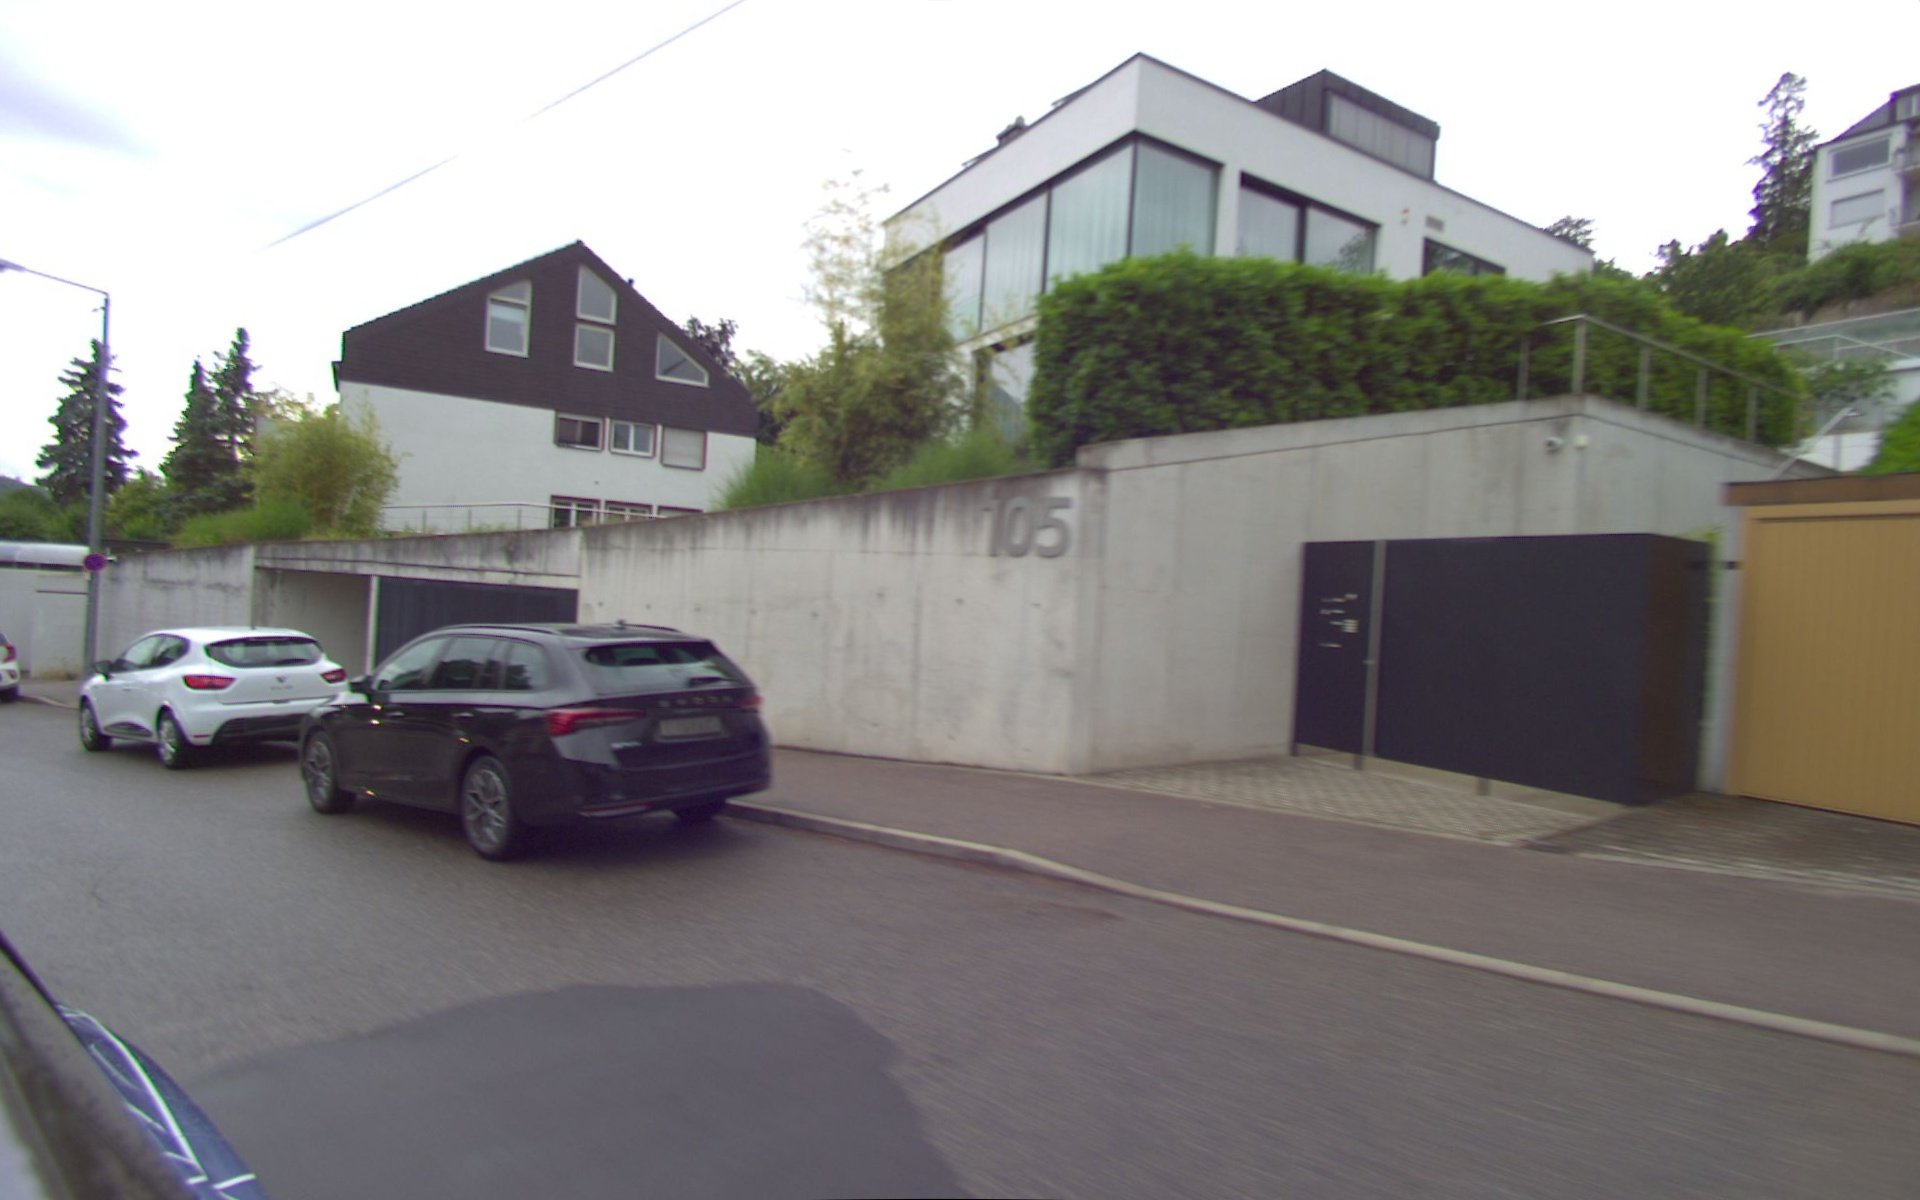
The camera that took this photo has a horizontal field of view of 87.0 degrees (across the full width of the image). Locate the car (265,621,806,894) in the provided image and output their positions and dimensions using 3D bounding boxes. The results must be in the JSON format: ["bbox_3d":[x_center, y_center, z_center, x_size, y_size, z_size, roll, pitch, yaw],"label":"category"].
[{"bbox_3d":[-3.388,0.907,7.592,4.676,1.470,1.696,-1,-2,38],"label":"car"}]

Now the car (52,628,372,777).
[{"bbox_3d":[-8.753,1.055,11.761,4.031,1.451,1.816,-1,-2,35],"label":"car"}]

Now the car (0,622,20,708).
[{"bbox_3d":[-18.943,1.183,18.523,3.820,1.527,1.614,-1,-2,32],"label":"car"}]
